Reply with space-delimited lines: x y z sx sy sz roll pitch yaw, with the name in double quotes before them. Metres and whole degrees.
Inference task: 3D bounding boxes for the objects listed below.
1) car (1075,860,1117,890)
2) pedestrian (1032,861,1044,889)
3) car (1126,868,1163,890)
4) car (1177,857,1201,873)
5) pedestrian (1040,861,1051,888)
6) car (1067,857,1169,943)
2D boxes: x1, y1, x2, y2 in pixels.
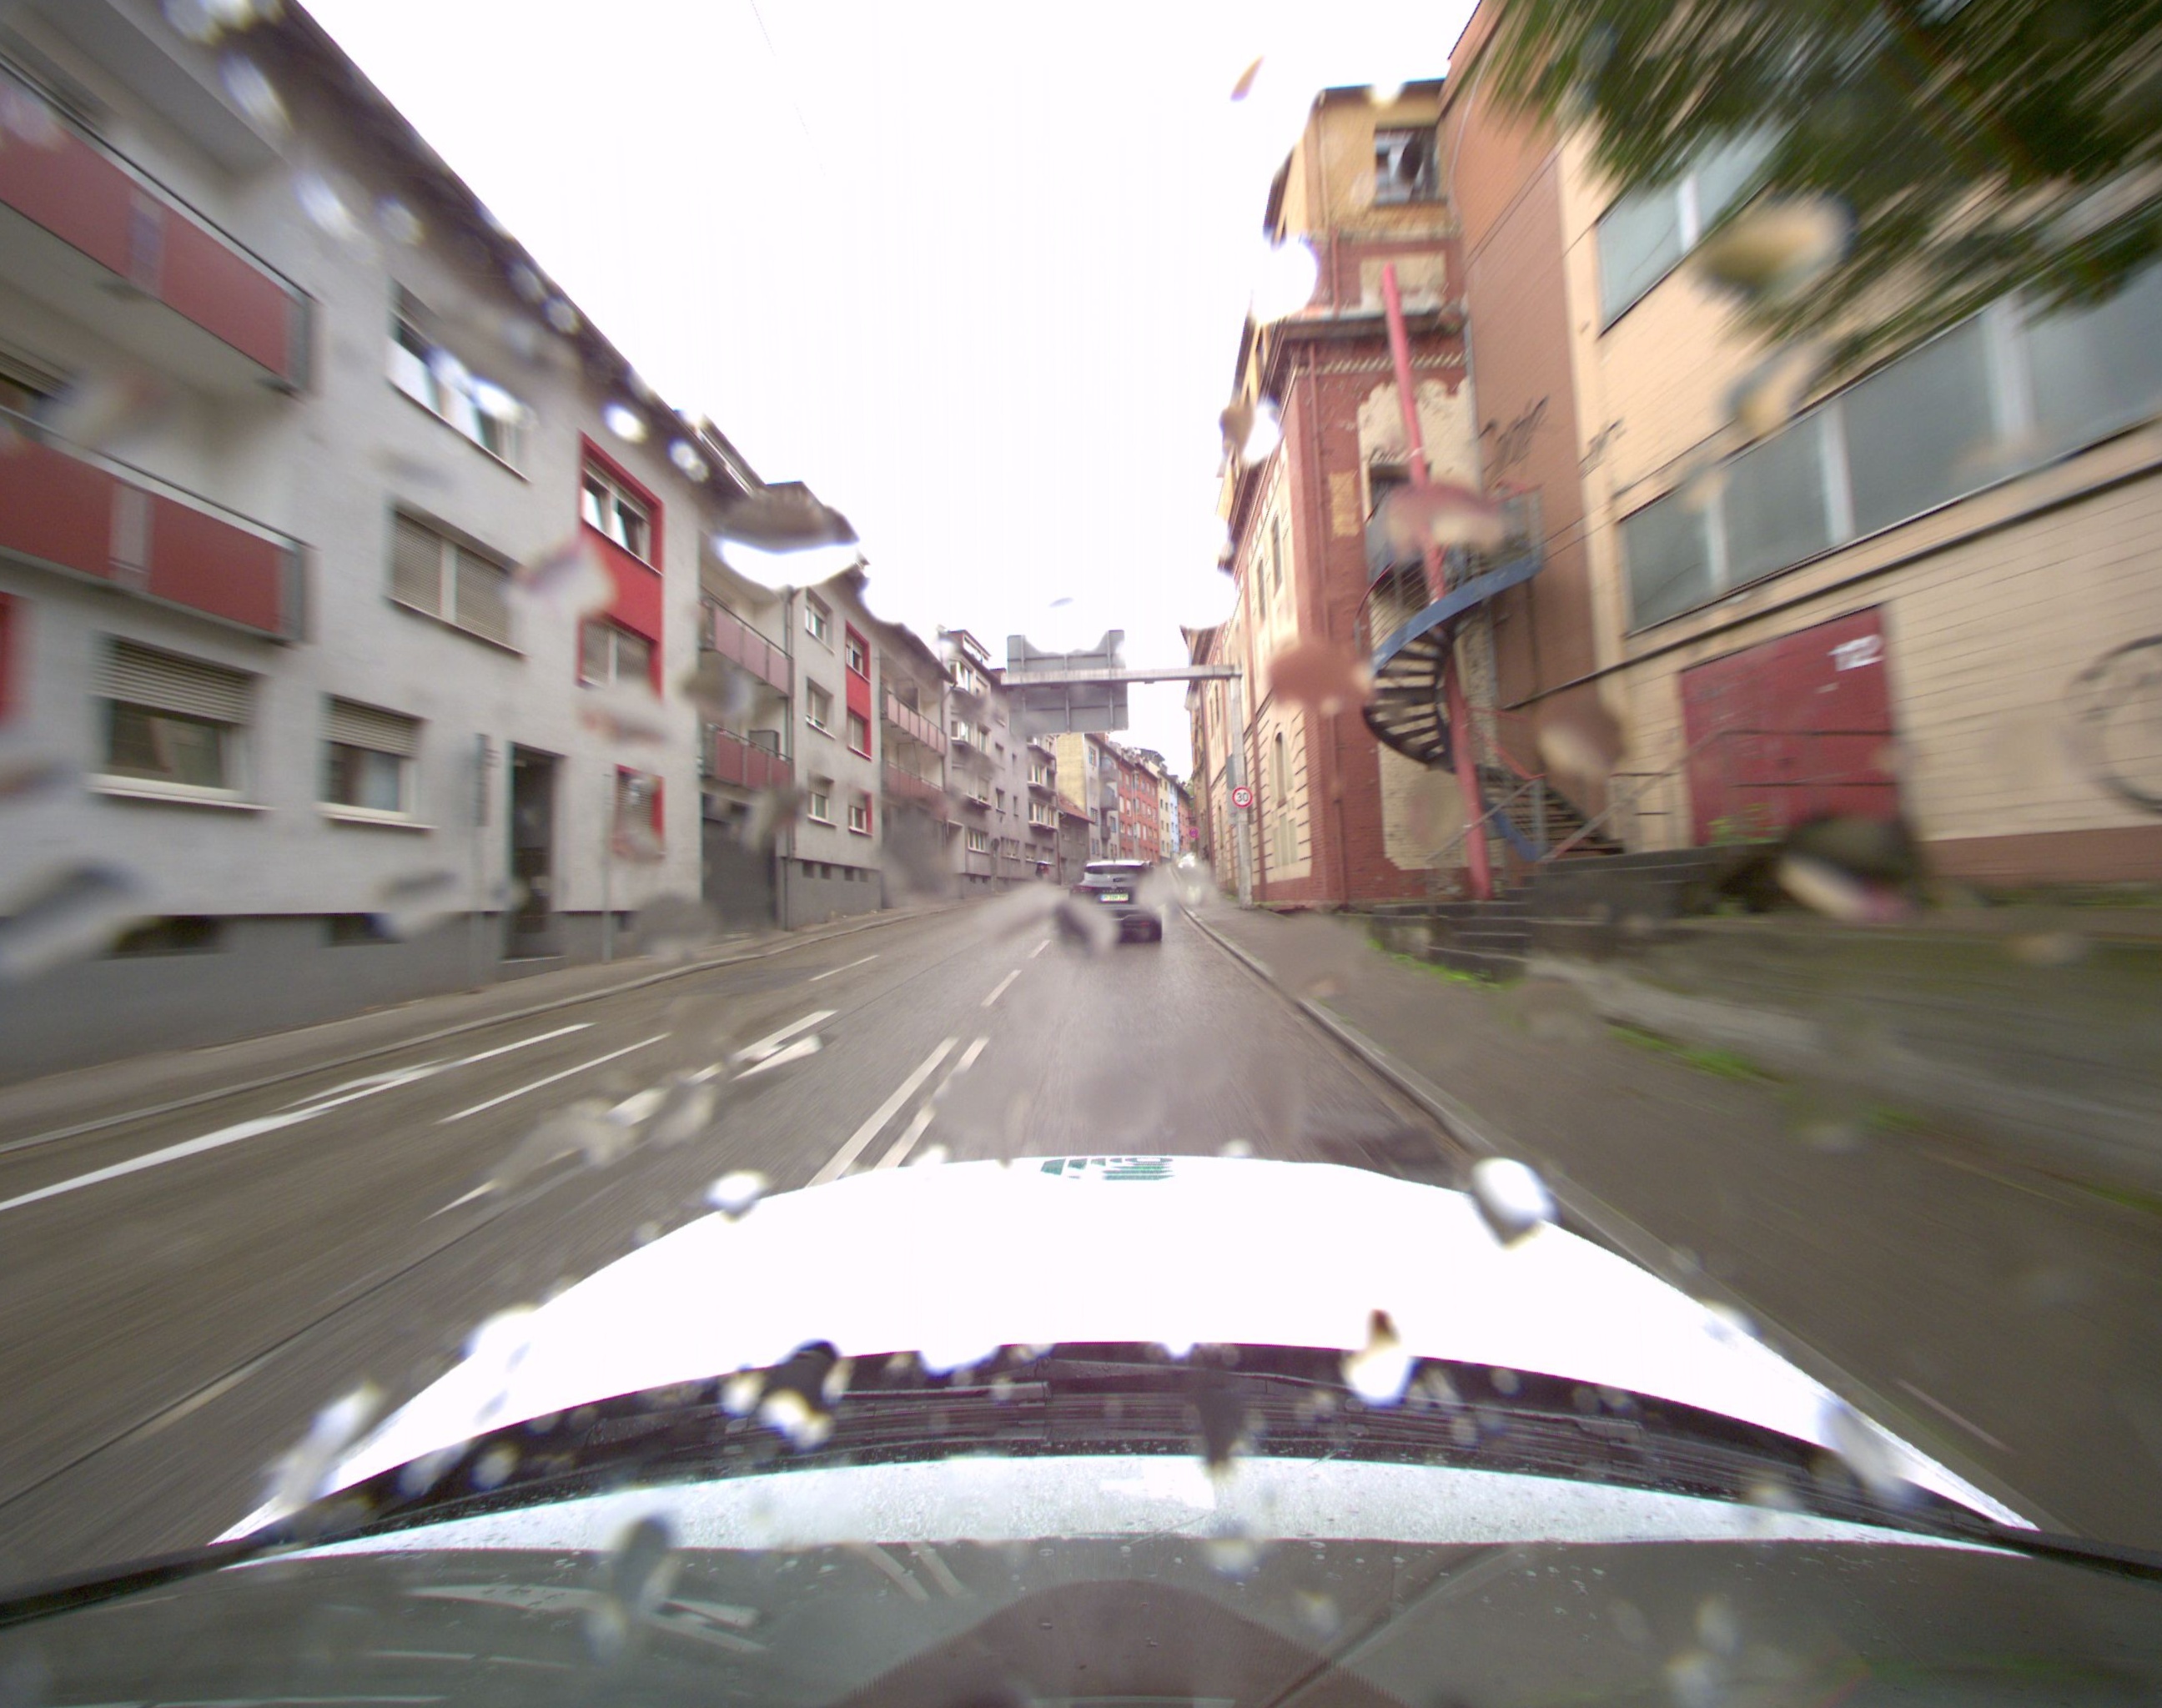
"car" 0.968 1.258 49.292 1.752 1.658 4.000 -3 -1 12
"pedestrian" -2.902 1.414 54.906 0.520 1.776 0.624 -4 -1 9
"car" 4.786 1.912 61.301 1.780 1.510 4.018 -4 -3 18
"car" 11.752 1.163 88.498 1.750 1.576 4.055 -4 -1 18
"pedestrian" -2.373 1.381 54.819 0.520 1.776 0.624 -4 -1 9
"car" 0.747 0.876 17.020 1.874 1.594 3.922 0 -1 2
